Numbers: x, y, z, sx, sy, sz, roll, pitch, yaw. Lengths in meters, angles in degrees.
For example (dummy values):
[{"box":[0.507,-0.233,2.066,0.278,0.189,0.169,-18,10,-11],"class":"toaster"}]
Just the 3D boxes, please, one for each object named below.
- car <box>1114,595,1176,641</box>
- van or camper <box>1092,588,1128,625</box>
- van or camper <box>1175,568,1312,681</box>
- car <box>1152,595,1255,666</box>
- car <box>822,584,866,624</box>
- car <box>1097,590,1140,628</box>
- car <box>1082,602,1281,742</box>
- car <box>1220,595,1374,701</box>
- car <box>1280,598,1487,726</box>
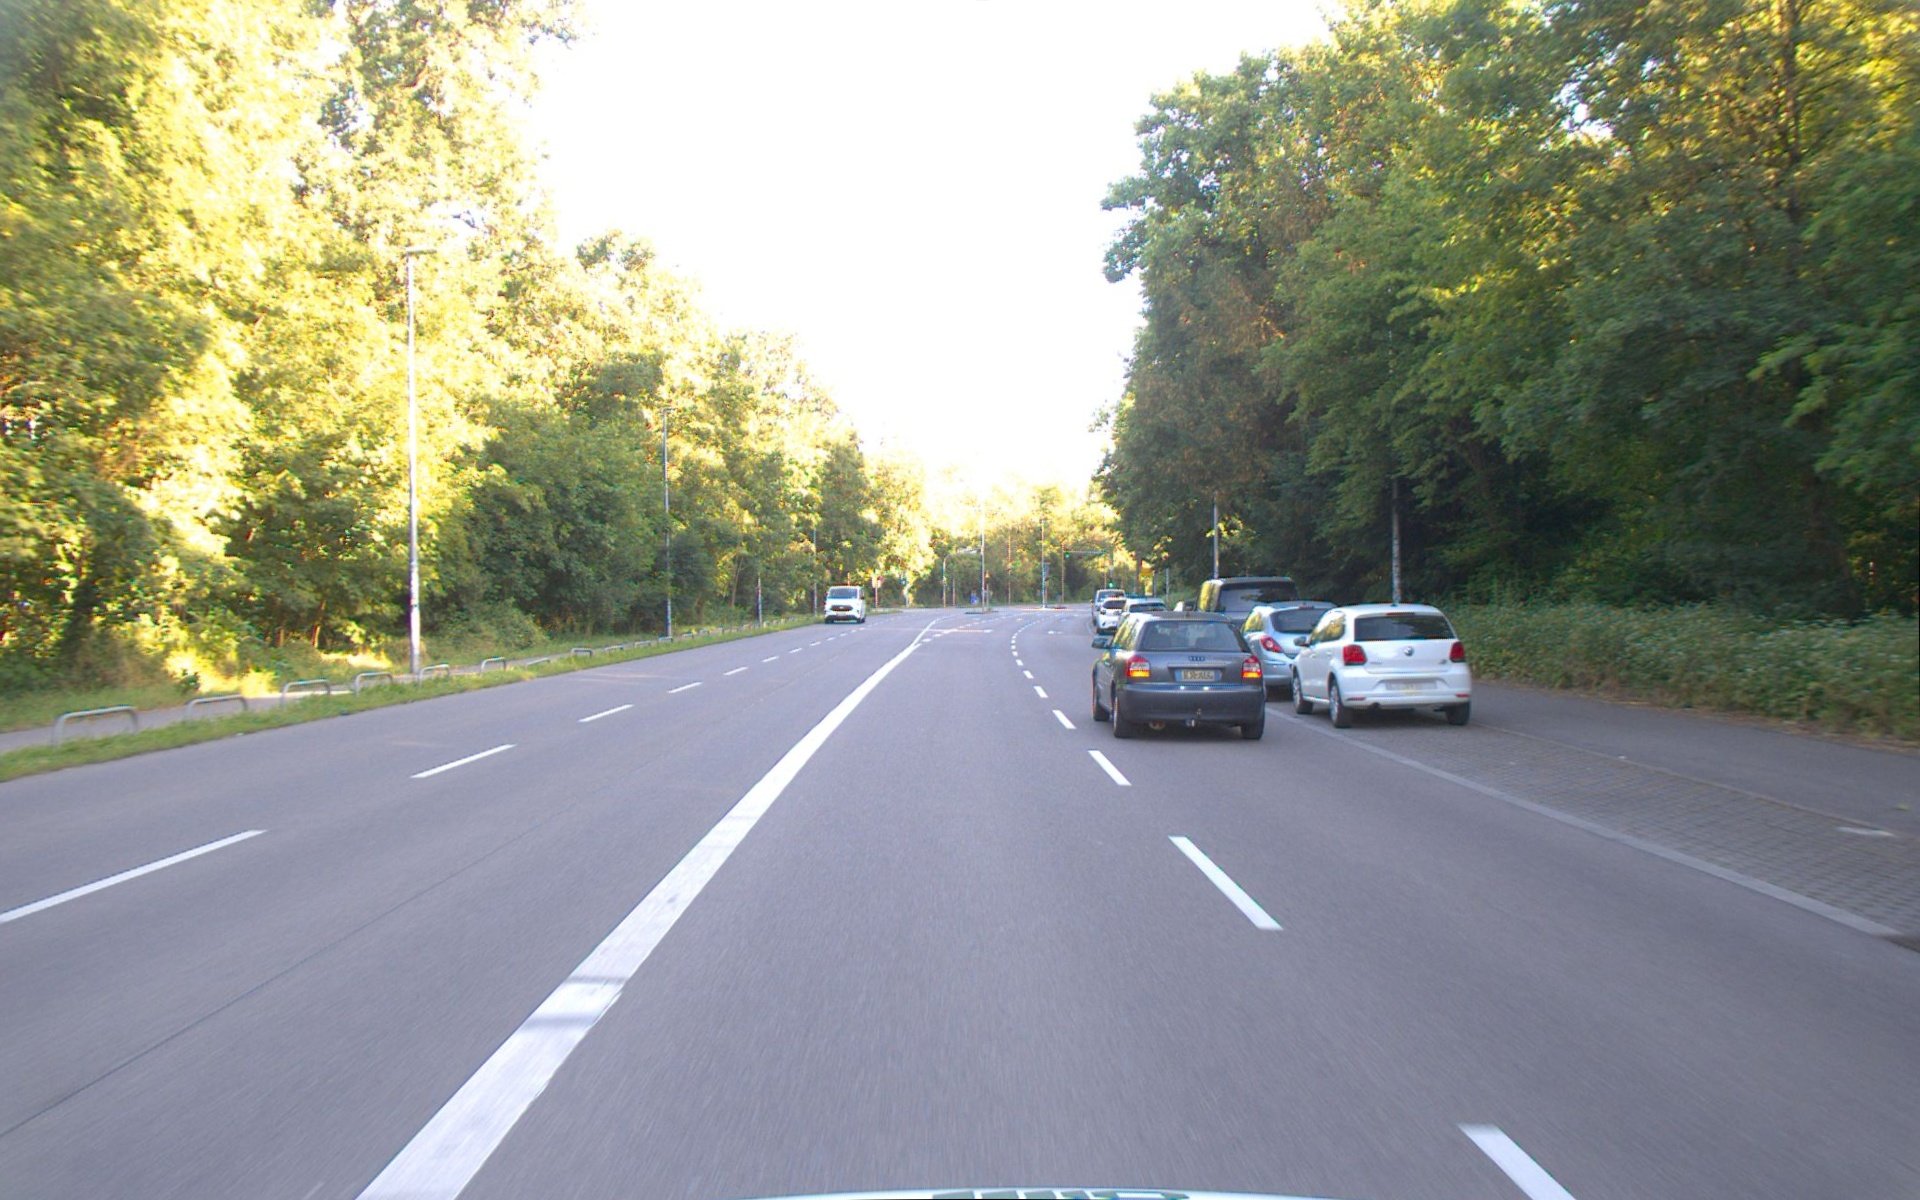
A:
[{"box":[6.090,0.561,54.765,1.692,1.467,4.668,0,0,2],"class":"car"},{"box":[8.302,0.335,91.928,1.794,2.005,5.344,0,0,3],"class":"van or camper"},{"box":[5.487,0.429,32.620,1.854,1.982,5.134,-2,0,1],"class":"van or camper"},{"box":[5.657,0.665,38.970,1.800,1.466,4.958,-2,0,2],"class":"car"},{"box":[-6.197,0.232,88.874,1.953,2.027,4.997,2,0,0],"class":"car"},{"box":[6.641,0.341,69.534,1.691,1.549,4.092,0,0,4],"class":"car"},{"box":[2.526,0.772,19.748,1.693,1.467,4.088,0,0,-2],"class":"car"},{"box":[5.334,0.707,26.682,1.692,1.571,4.217,0,0,1],"class":"car"},{"box":[5.396,0.731,21.563,1.692,1.467,4.101,-1,0,1],"class":"car"}]
